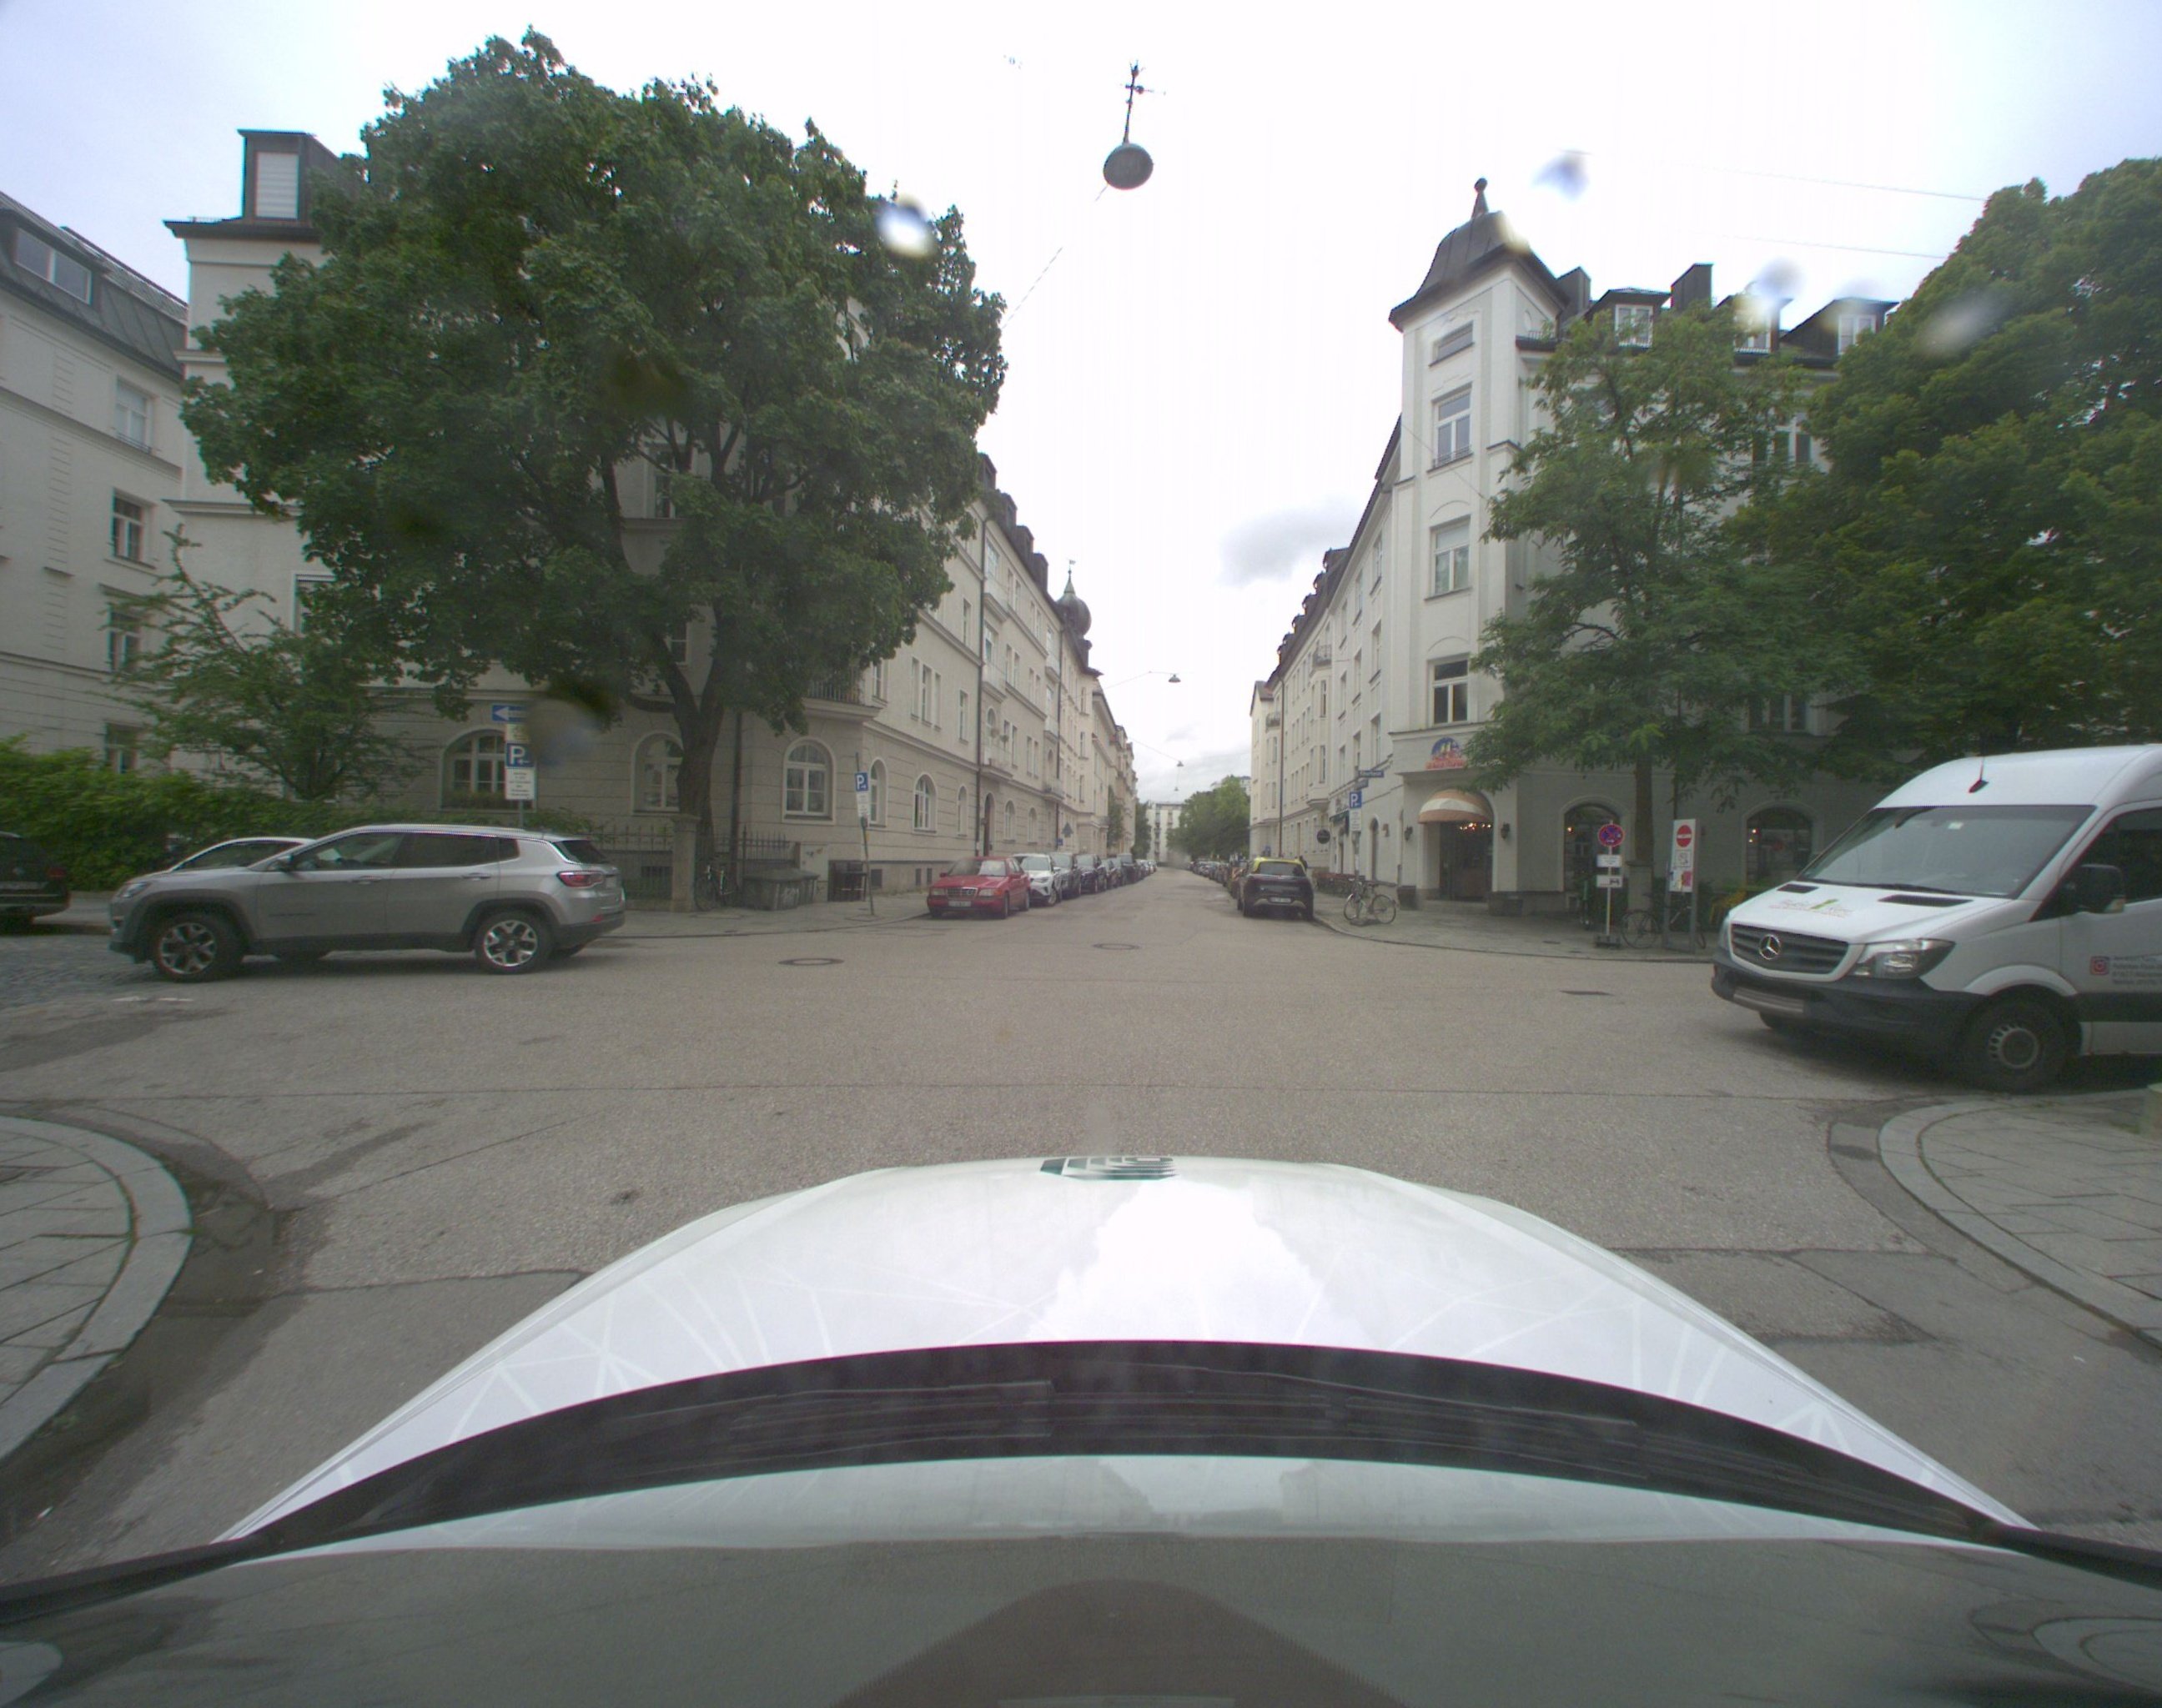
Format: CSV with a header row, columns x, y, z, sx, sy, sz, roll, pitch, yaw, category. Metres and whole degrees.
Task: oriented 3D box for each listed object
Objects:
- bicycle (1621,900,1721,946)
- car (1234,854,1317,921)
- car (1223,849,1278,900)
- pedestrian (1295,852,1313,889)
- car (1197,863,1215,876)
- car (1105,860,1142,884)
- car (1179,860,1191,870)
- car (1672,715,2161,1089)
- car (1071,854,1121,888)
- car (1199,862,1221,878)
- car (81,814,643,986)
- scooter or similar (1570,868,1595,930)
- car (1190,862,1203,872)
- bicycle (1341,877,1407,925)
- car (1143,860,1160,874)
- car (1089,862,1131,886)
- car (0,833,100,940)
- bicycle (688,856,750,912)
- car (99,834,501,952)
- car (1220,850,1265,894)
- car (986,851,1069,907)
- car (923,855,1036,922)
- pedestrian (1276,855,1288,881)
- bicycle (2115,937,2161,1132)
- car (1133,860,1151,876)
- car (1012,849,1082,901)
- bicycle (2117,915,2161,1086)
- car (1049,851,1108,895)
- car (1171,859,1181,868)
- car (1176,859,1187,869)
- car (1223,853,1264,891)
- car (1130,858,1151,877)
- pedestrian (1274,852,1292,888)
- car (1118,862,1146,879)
x,y,z,sx,sy,sz,roll,pitch,yaw,category
10.871,1.265,15.047,1.403,0.783,0.546,0,-1,16,bicycle
5.440,0.886,23.223,1.810,1.636,4.298,3,0,8,car
6.874,0.799,33.399,1.810,1.871,4.298,3,0,8,car
11.626,0.845,42.416,0.774,1.851,1.025,1,0,8,pedestrian
14.058,1.733,91.656,1.721,1.417,3.858,1,0,5,car
2.691,1.092,50.727,1.895,1.329,4.009,1,0,8,car
18.706,2.028,146.949,1.984,1.789,4.071,1,0,5,car
8.621,0.373,6.815,5.876,2.591,2.059,1,1,-2,car
0.822,0.795,40.326,1.914,1.546,4.010,1,0,9,car
12.827,1.571,80.979,1.897,1.576,4.006,1,0,5,car
-7.613,0.459,9.257,4.306,1.607,1.952,1,0,-18,car
11.179,0.977,18.153,0.423,1.279,1.287,2,1,32,scooter or similar
19.298,2.140,136.601,1.940,1.652,4.006,0,-1,5,car
6.909,1.090,19.303,0.540,0.999,1.746,-2,1,-16,bicycle
8.729,1.580,100.854,1.984,1.574,4.006,1,0,5,car
1.683,1.089,46.184,1.895,1.222,4.009,1,0,8,car
-16.987,0.407,11.584,3.974,1.473,1.652,1,0,0,car
-7.554,0.596,17.068,0.492,1.052,1.827,1,2,-1,bicycle
-10.903,0.522,11.593,3.975,1.449,1.685,2,0,-1,car
7.676,0.827,38.993,1.810,1.923,4.192,3,0,8,car
-1.503,0.684,24.351,1.986,1.473,4.221,1,0,2,car
-2.299,0.744,19.532,1.722,1.378,4.234,1,0,6,car
14.142,0.978,57.253,0.772,1.851,0.863,1,0,15,pedestrian
6.970,1.087,4.856,1.174,1.127,0.340,1,0,0,bicycle
5.999,1.344,79.932,1.726,1.420,4.005,1,0,5,car
-1.122,0.716,28.921,1.984,1.676,4.017,1,0,4,car
7.653,0.961,5.320,1.501,1.071,0.369,1,0,-7,bicycle
-0.040,0.754,33.924,1.984,1.676,4.295,1,0,6,car
21.811,2.222,186.791,1.984,1.982,4.898,2,0,4,car
21.734,2.188,176.019,1.984,1.982,4.898,2,0,4,car
8.606,0.930,43.412,1.981,1.856,4.357,2,0,10,car
5.434,1.196,73.989,1.812,1.574,4.006,1,0,5,car
10.670,0.851,43.046,0.774,1.851,1.025,1,0,8,pedestrian
3.965,1.220,62.478,1.896,1.222,4.008,1,0,7,car
